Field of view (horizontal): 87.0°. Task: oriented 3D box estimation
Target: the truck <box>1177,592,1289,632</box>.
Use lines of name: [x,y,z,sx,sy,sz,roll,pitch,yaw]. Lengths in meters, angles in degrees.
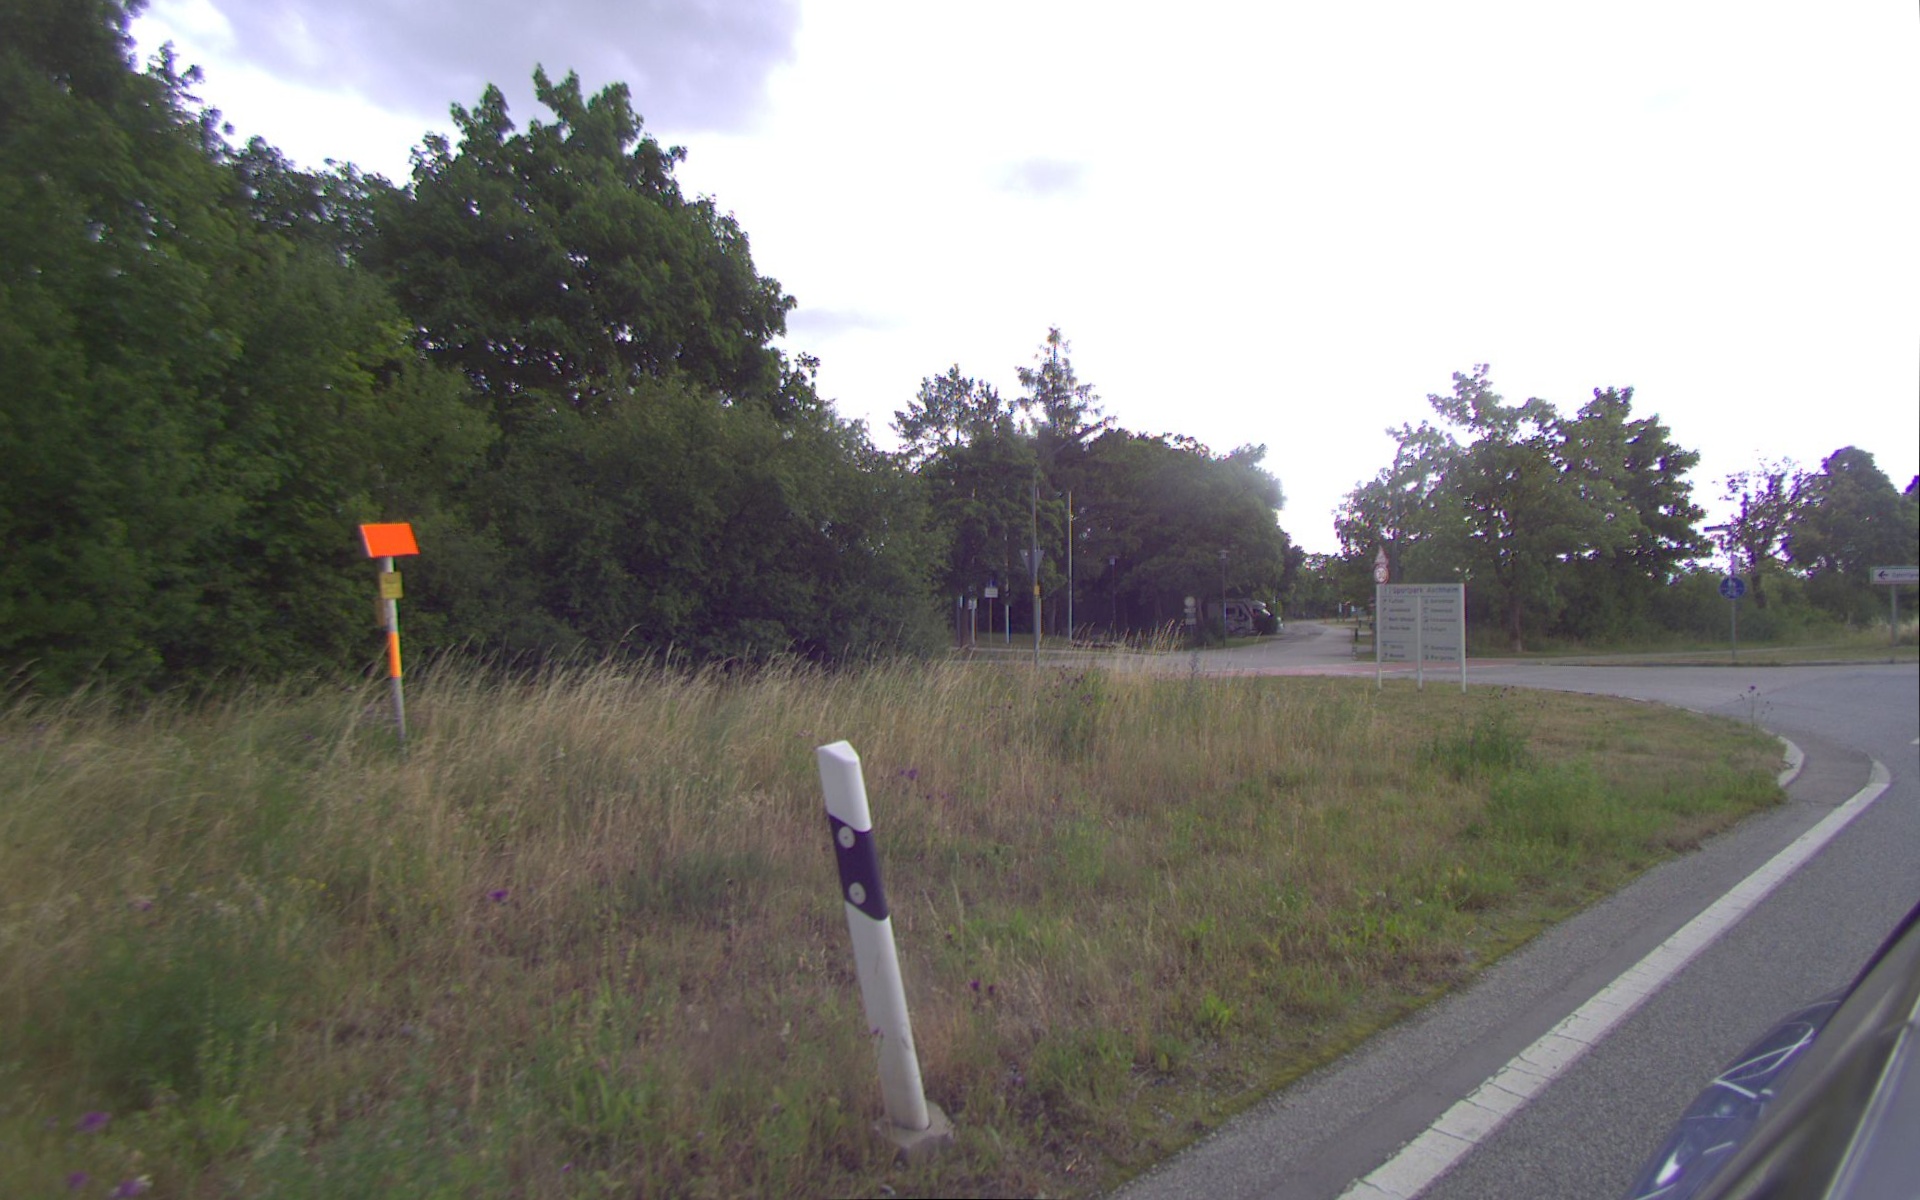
truck: [21.880,0.934,81.185,8.280,3.149,3.048,0,0,24]
